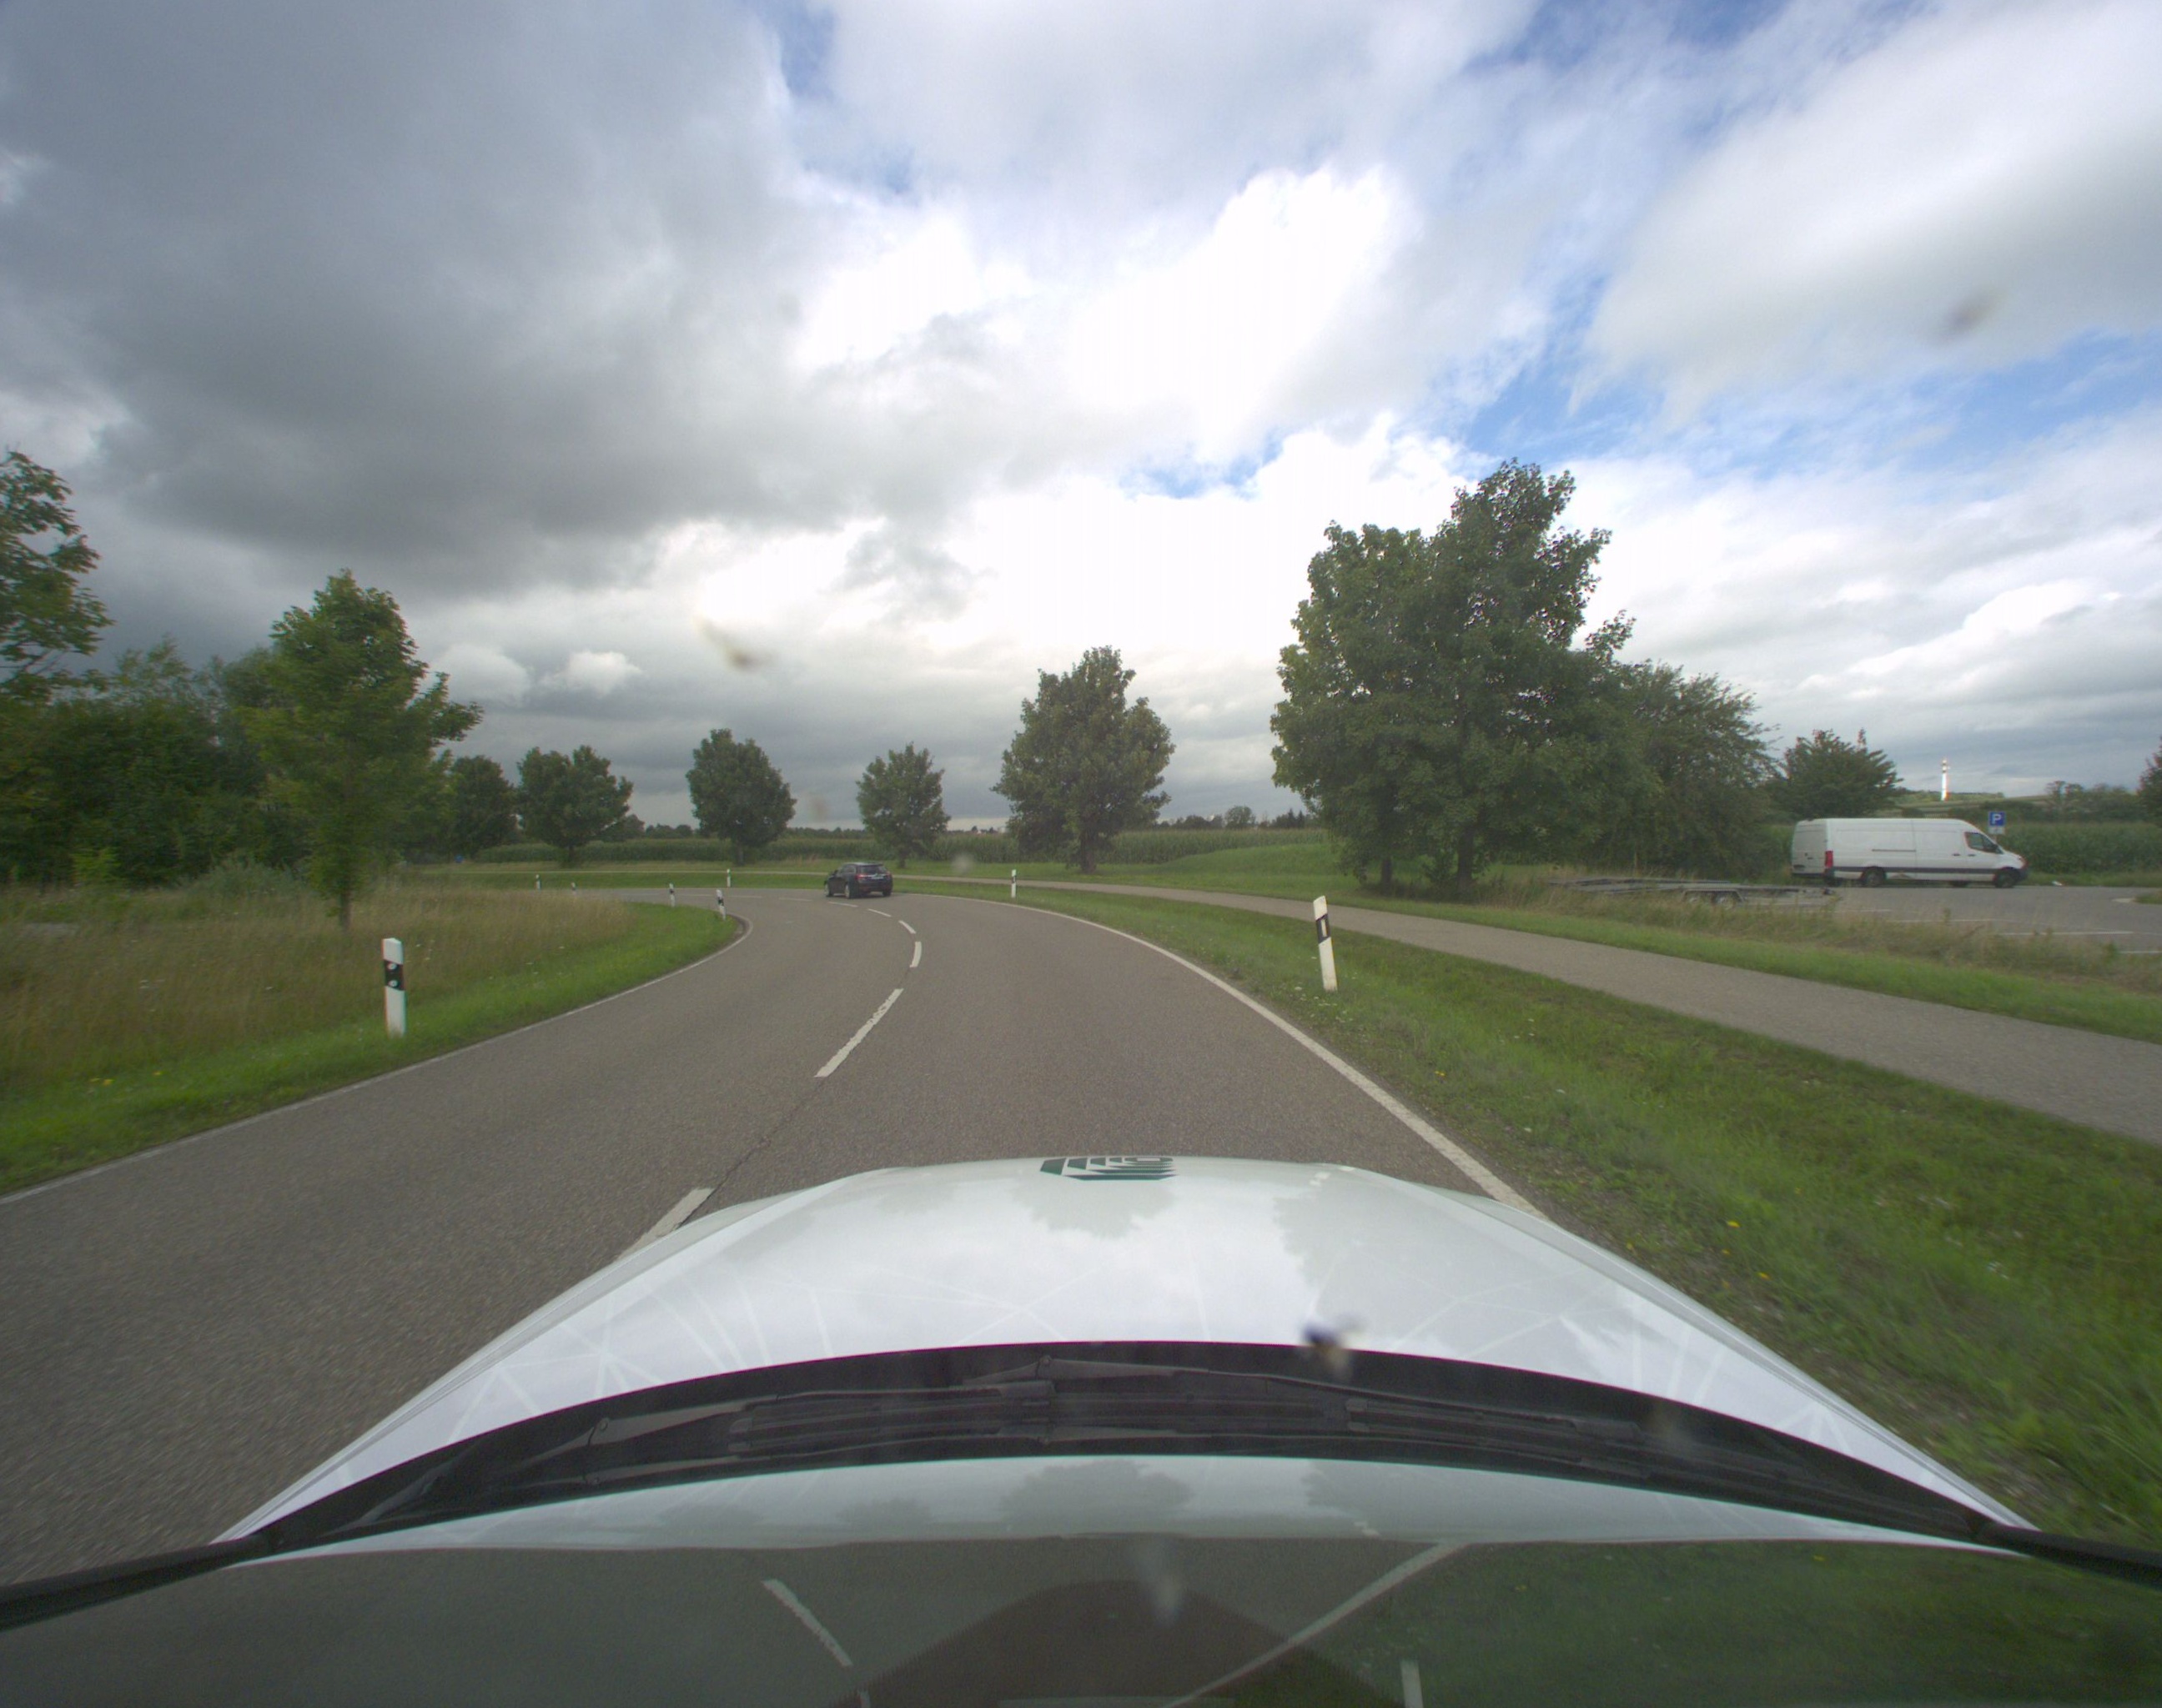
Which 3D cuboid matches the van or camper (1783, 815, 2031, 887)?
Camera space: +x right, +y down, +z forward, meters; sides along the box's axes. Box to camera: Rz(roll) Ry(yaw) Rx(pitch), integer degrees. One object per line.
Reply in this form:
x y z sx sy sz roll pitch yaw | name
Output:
30.905 -0.122 30.702 6.702 2.561 2.054 0 0 9 | van or camper

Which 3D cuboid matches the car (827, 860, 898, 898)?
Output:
-9.269 1.012 34.405 1.853 1.417 3.960 0 0 -32 | car
